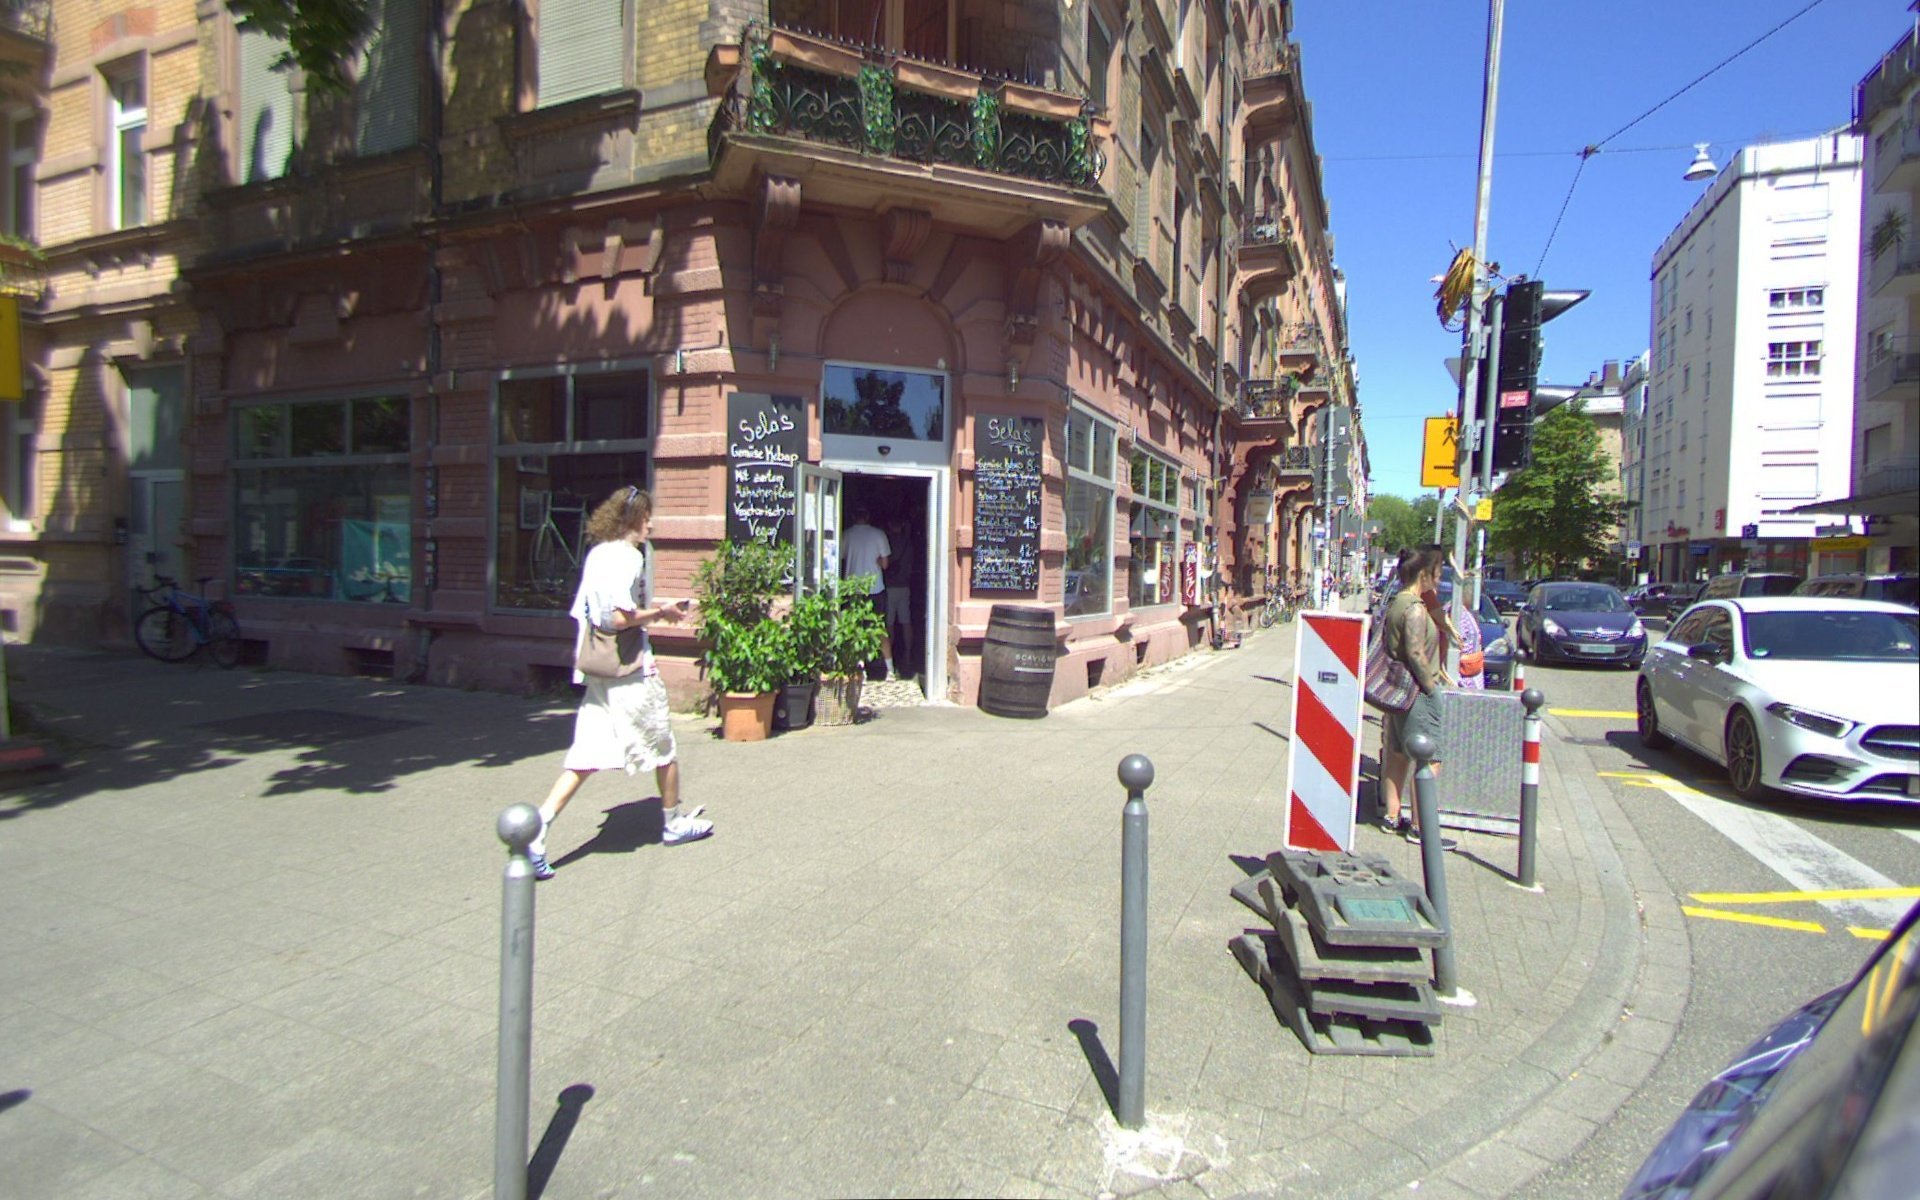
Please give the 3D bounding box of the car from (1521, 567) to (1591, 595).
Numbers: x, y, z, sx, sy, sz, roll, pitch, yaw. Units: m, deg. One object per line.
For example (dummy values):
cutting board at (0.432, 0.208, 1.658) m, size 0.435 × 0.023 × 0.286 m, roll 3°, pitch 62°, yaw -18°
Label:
car at (40.474, -1.297, 68.833) m, size 3.845 × 1.769 × 1.639 m, roll 2°, pitch 2°, yaw 24°

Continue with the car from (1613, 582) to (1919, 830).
car at (6.665, 0.611, 7.953) m, size 1.794 × 1.443 × 4.210 m, roll 2°, pitch 2°, yaw 22°

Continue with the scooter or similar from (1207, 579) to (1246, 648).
scooter or similar at (4.777, 0.219, 18.137) m, size 0.291 × 1.191 × 1.257 m, roll 1°, pitch 2°, yaw 33°

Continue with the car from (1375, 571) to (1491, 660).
car at (9.139, 0.197, 19.856) m, size 1.711 × 1.449 × 4.454 m, roll 3°, pitch 3°, yaw 21°

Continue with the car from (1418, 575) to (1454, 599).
car at (29.159, -0.818, 62.032) m, size 1.729 × 1.407 × 3.971 m, roll 2°, pitch 2°, yaw 22°

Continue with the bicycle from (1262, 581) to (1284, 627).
bicycle at (7.908, 0.079, 25.531) m, size 0.351 × 1.117 × 1.742 m, roll 2°, pitch 2°, yaw 23°

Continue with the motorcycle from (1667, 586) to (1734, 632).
motorcycle at (21.689, 0.240, 29.663) m, size 0.386 × 1.300 × 1.557 m, roll -2°, pitch 2°, yaw -34°

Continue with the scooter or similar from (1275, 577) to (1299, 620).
scooter or similar at (9.290, -0.056, 28.720) m, size 0.472 × 1.167 × 2.133 m, roll 1°, pitch 2°, yaw 23°

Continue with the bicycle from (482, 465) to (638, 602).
bicycle at (-3.618, -0.590, 9.134) m, size 1.412 × 1.166 × 0.505 m, roll 2°, pitch 2°, yaw 27°

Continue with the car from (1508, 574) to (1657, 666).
car at (11.350, 0.282, 18.706) m, size 1.762 × 1.487 × 3.970 m, roll 0°, pitch 2°, yaw 23°

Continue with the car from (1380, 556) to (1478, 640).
car at (11.242, -0.117, 24.493) m, size 1.809 × 1.788 × 4.308 m, roll 3°, pitch 3°, yaw 21°

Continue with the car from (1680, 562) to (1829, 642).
car at (20.203, -0.026, 25.971) m, size 1.774 × 1.851 × 4.863 m, roll 0°, pitch 1°, yaw 23°

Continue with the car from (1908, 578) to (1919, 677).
car at (15.153, 0.483, 13.928) m, size 1.657 × 1.544 × 4.429 m, roll 0°, pitch 1°, yaw 24°

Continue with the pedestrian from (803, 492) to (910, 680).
pedestrian at (-1.051, -0.149, 10.250) m, size 0.922 × 1.840 × 0.458 m, roll 1°, pitch 5°, yaw -23°

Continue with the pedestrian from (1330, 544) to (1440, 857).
pedestrian at (2.282, 0.496, 5.425) m, size 0.457 × 1.579 × 0.474 m, roll 2°, pitch 2°, yaw 30°

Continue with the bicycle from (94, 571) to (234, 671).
bicycle at (-8.843, 0.208, 11.231) m, size 1.678 × 1.020 × 0.518 m, roll 2°, pitch 2°, yaw 25°

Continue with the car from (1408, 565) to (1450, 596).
car at (24.919, -1.058, 53.841) m, size 1.662 × 1.556 × 3.974 m, roll 1°, pitch 2°, yaw 20°

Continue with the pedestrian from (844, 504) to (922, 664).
pedestrian at (-0.868, -0.184, 11.375) m, size 0.709 × 1.739 × 0.498 m, roll 1°, pitch 3°, yaw -22°

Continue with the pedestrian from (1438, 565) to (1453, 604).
pedestrian at (24.495, -0.798, 51.033) m, size 0.628 × 1.937 × 0.367 m, roll 2°, pitch 1°, yaw 24°

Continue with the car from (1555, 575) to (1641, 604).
car at (35.979, -0.605, 57.208) m, size 3.845 × 1.548 × 1.639 m, roll 2°, pitch 2°, yaw 24°

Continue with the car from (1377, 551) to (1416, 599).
car at (26.049, -1.525, 60.513) m, size 2.046 × 2.736 × 5.001 m, roll 0°, pitch 1°, yaw 23°

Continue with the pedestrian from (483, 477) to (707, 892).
pedestrian at (-1.689, 0.338, 4.744) m, size 0.477 × 1.753 × 0.858 m, roll 2°, pitch 3°, yaw 42°

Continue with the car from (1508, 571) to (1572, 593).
car at (42.390, -1.318, 73.993) m, size 3.845 × 1.514 × 1.639 m, roll 2°, pitch 2°, yaw 24°

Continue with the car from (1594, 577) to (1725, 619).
car at (26.989, -0.111, 39.208) m, size 3.852 × 1.443 × 1.799 m, roll 2°, pitch 2°, yaw 26°

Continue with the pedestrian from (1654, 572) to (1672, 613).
pedestrian at (37.422, -0.383, 53.873) m, size 0.485 × 2.151 × 0.610 m, roll 0°, pitch 1°, yaw -31°

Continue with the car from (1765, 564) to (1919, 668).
car at (17.874, 0.226, 19.934) m, size 1.772 × 1.834 × 4.668 m, roll 0°, pitch 1°, yaw 20°

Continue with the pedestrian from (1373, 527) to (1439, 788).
pedestrian at (3.007, 0.363, 6.818) m, size 0.330 × 1.696 × 0.397 m, roll 2°, pitch 2°, yaw 30°

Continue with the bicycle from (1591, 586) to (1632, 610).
bicycle at (30.677, -0.099, 47.654) m, size 1.596 × 1.104 × 0.367 m, roll 0°, pitch 1°, yaw 30°

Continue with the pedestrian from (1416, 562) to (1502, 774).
pedestrian at (3.877, 0.502, 7.858) m, size 0.490 × 1.561 × 0.432 m, roll 4°, pitch 3°, yaw 30°

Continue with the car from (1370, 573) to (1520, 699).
car at (6.693, 0.383, 14.205) m, size 1.615 × 1.449 × 3.632 m, roll 3°, pitch 3°, yaw 23°
